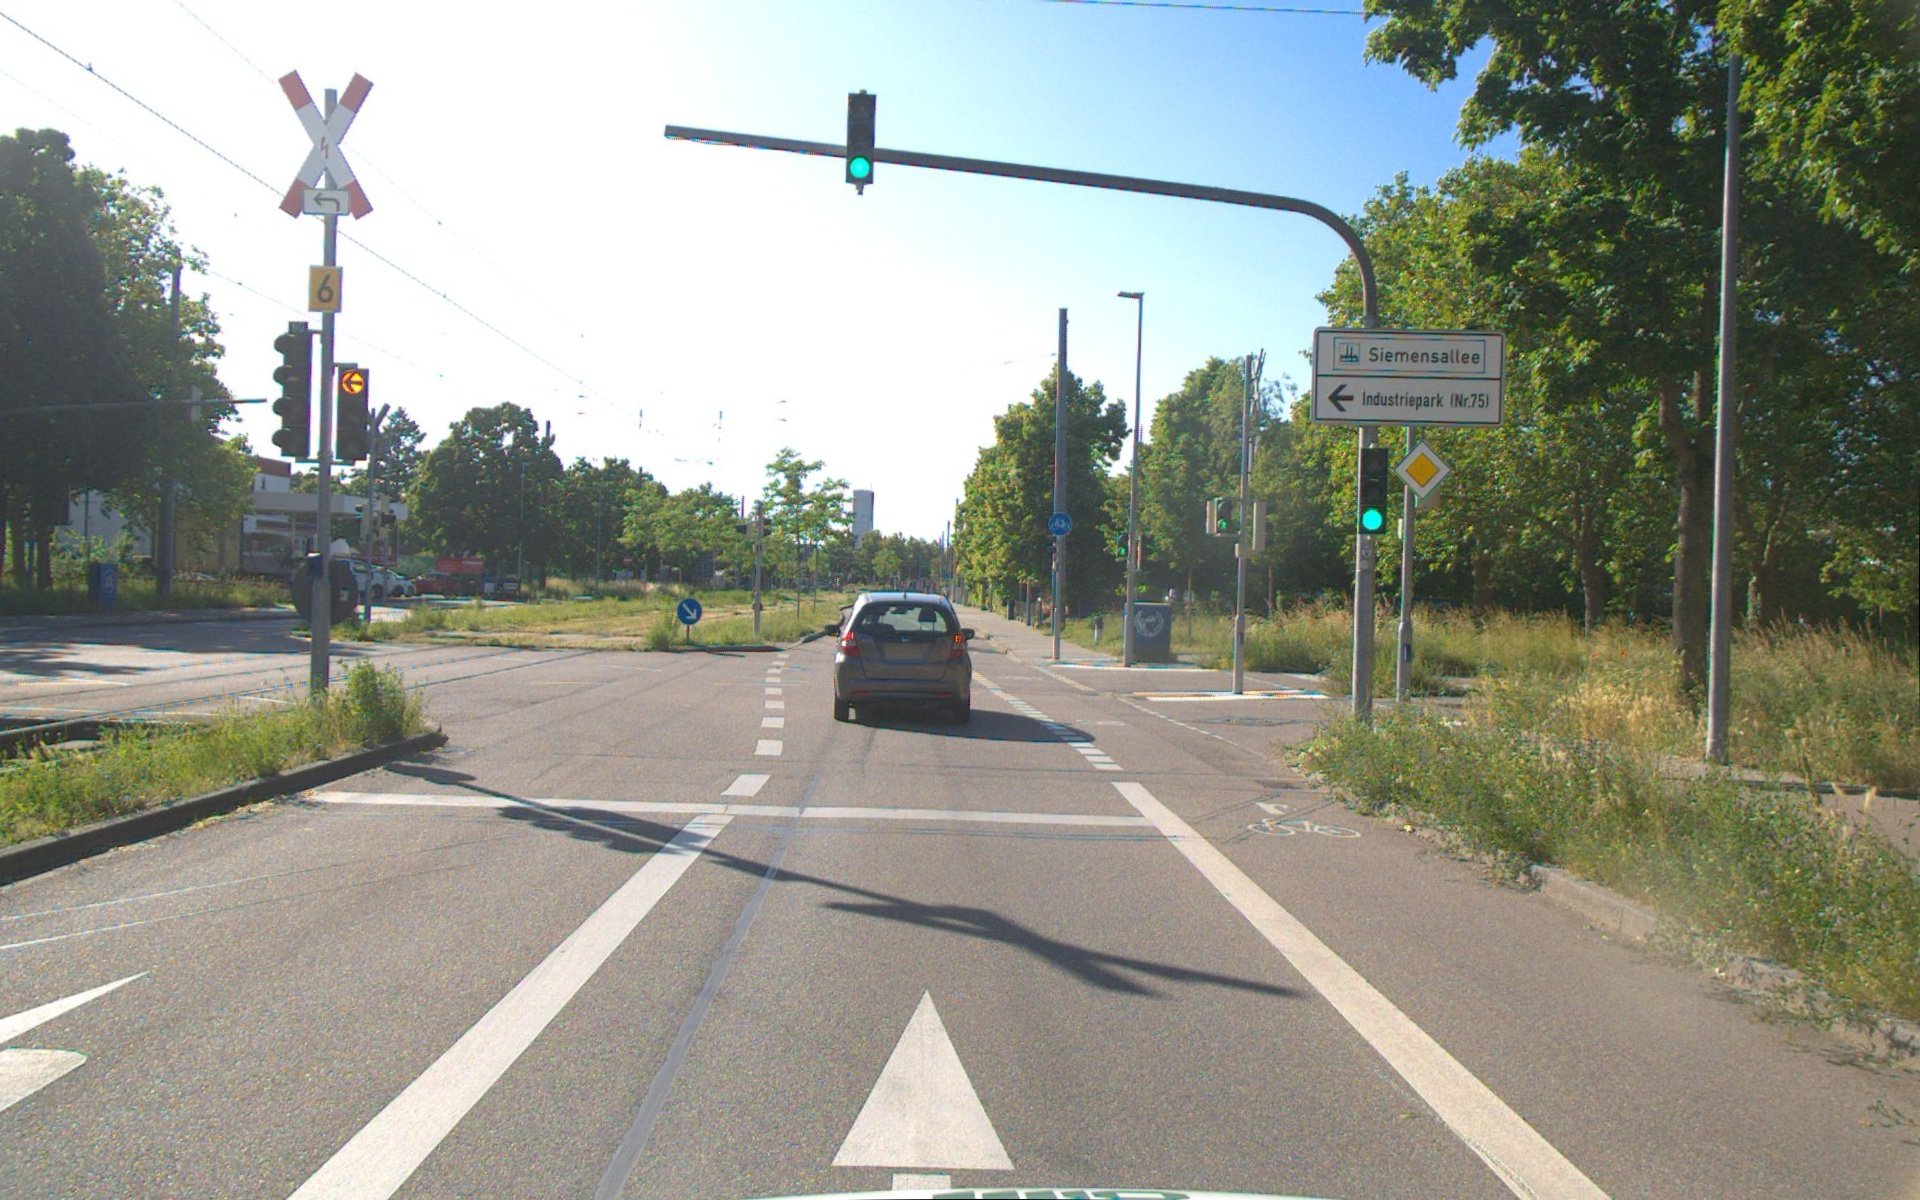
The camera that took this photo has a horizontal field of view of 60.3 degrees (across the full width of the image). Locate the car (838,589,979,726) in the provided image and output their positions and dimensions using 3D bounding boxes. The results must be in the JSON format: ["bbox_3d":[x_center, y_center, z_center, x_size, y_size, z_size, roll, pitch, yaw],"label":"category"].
[{"bbox_3d":[-0.633,0.656,20.890,1.591,1.526,3.456,2,0,-1],"label":"car"}]

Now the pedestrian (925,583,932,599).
[{"bbox_3d":[-3.690,-1.013,193.473,0.707,1.832,1.164,1,0,-3],"label":"pedestrian"}]

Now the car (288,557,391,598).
[{"bbox_3d":[-31.949,-1.150,85.289,1.823,2.008,4.769,2,1,36],"label":"car"}]

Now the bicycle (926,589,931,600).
[{"bbox_3d":[-3.696,-0.689,193.465,0.502,1.263,3.088,1,1,-3],"label":"bicycle"}]

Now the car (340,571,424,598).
[{"bbox_3d":[-32.755,-0.865,93.847,1.752,1.496,4.465,2,1,27],"label":"car"}]

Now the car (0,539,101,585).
[{"bbox_3d":[-44.408,-1.837,79.946,4.627,2.128,2.020,1,1,-4],"label":"car"}]

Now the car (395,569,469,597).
[{"bbox_3d":[-32.557,-1.056,102.013,3.990,1.596,1.791,1,1,-4],"label":"car"}]

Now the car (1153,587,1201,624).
[{"bbox_3d":[12.570,0.291,96.043,1.834,2.001,5.165,2,0,-2],"label":"car"}]

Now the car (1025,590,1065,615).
[{"bbox_3d":[4.907,0.141,96.004,1.739,1.411,3.866,1,0,-5],"label":"car"}]

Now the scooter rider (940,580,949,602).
[{"bbox_3d":[-1.370,-0.821,147.536,0.702,1.934,0.934,2,0,-4],"label":"scooter rider"}]

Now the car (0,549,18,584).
[{"bbox_3d":[-43.429,-1.527,72.729,1.545,1.571,4.090,2,0,1],"label":"car"}]

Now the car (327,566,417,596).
[{"bbox_3d":[-31.975,-1.014,90.023,1.756,1.554,4.454,2,1,36],"label":"car"}]
